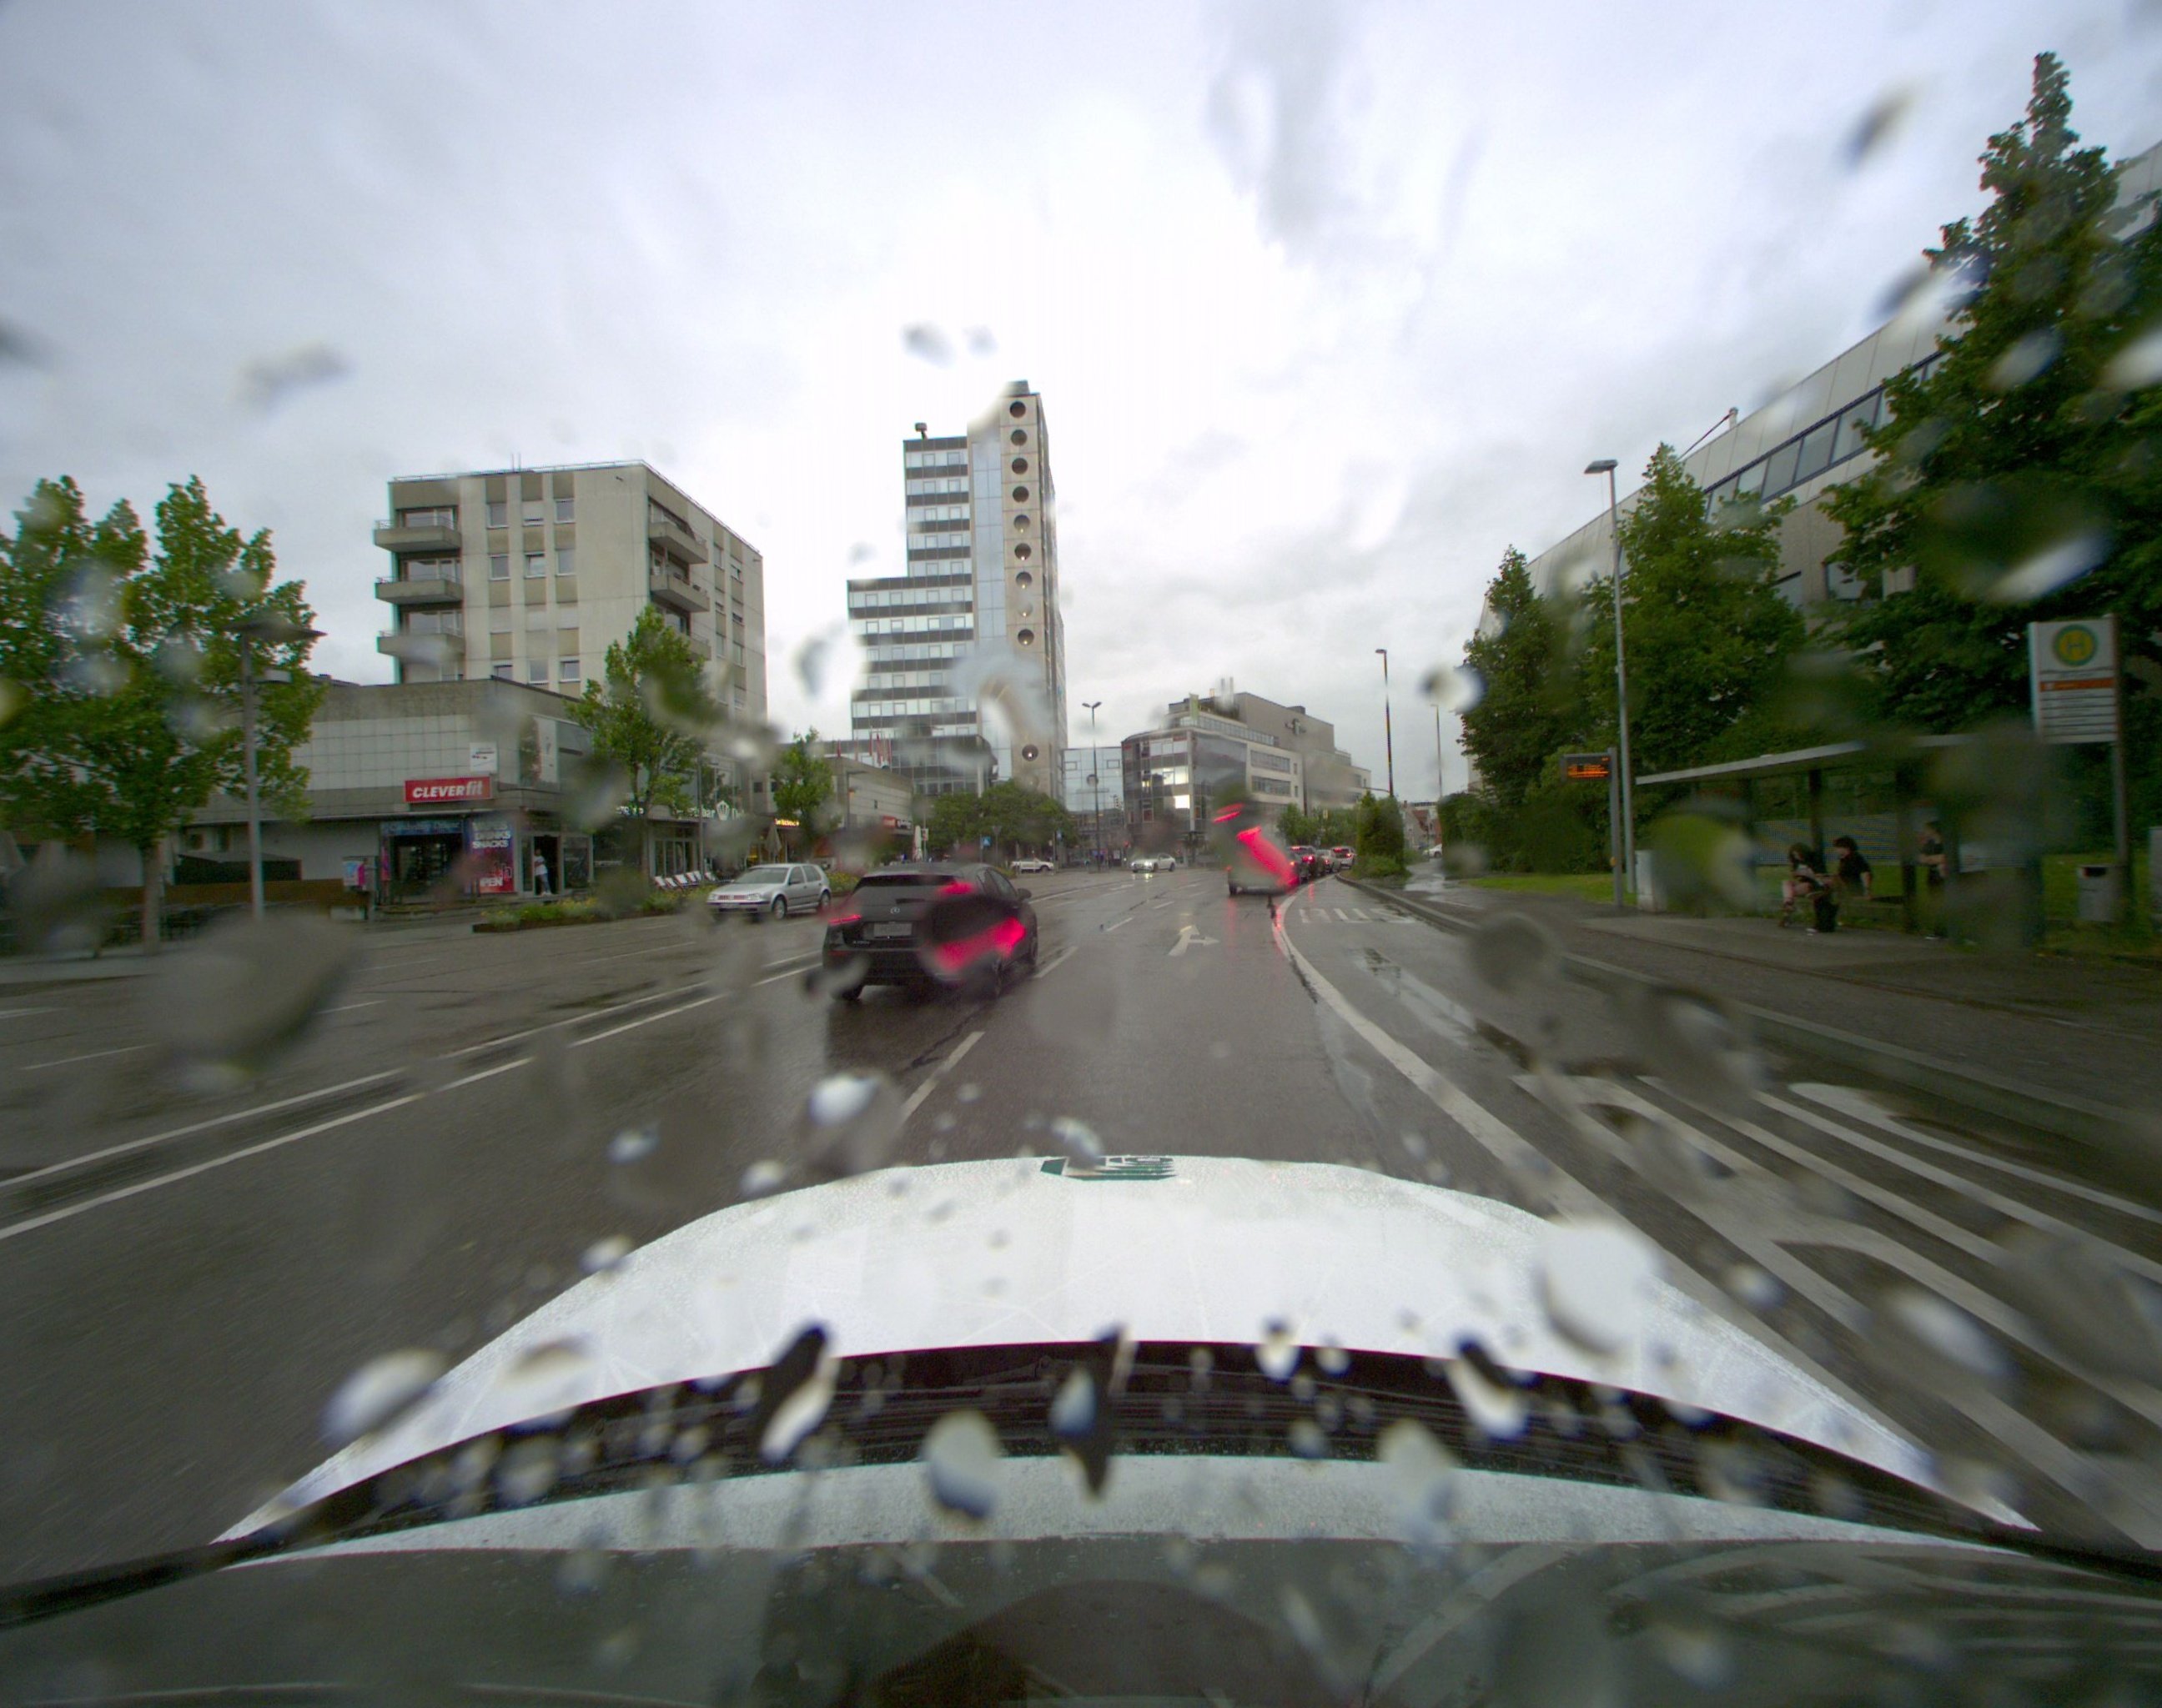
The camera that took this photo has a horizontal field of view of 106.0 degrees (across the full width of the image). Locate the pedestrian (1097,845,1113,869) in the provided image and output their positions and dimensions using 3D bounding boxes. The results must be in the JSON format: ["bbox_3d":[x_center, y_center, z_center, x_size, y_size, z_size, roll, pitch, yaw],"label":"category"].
[{"bbox_3d":[2.002,0.233,68.911,1.159,2.013,1.327,-2,0,-3],"label":"pedestrian"}]

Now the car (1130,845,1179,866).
[{"bbox_3d":[5.622,0.084,61.528,1.824,1.460,4.839,-1,0,30],"label":"car"}]

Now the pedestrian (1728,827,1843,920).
[{"bbox_3d":[10.530,0.289,12.201,1.025,1.281,0.692,-4,0,2],"label":"pedestrian"}]

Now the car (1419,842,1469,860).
[{"bbox_3d":[36.484,-0.345,81.788,4.505,1.682,1.880,-1,0,-19],"label":"car"}]

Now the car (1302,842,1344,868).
[{"bbox_3d":[14.612,0.050,49.017,1.618,1.448,4.294,-1,0,27],"label":"car"}]

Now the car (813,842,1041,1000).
[{"bbox_3d":[-1.603,0.636,9.859,1.808,1.529,3.816,-1,1,3],"label":"car"}]

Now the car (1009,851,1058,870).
[{"bbox_3d":[-4.392,0.621,75.082,4.167,1.595,1.875,-1,0,9],"label":"car"}]

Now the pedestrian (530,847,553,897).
[{"bbox_3d":[-20.177,0.669,30.474,0.422,1.848,0.503,-2,0,15],"label":"pedestrian"}]

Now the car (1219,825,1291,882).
[{"bbox_3d":[6.445,-0.006,29.766,1.979,1.894,4.609,-1,0,19],"label":"car"}]

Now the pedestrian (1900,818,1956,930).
[{"bbox_3d":[10.759,0.248,10.353,0.546,1.365,0.406,-4,0,-44],"label":"pedestrian"}]

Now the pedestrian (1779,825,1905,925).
[{"bbox_3d":[10.670,0.286,11.450,1.025,1.281,0.692,-4,0,2],"label":"pedestrian"}]

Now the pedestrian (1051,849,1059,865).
[{"bbox_3d":[-3.169,0.352,100.052,0.757,2.013,0.717,-2,0,12],"label":"pedestrian"}]

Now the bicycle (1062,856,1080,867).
[{"bbox_3d":[-1.274,0.996,106.177,2.264,1.247,0.677,-2,-1,2],"label":"bicycle"}]

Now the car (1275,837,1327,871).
[{"bbox_3d":[11.614,-0.020,42.773,1.884,1.621,4.360,-1,0,25],"label":"car"}]

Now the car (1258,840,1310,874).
[{"bbox_3d":[9.127,0.116,36.420,1.617,1.386,4.539,-1,0,22],"label":"car"}]

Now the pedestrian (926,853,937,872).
[{"bbox_3d":[-10.862,0.614,59.099,0.491,1.347,0.540,-2,0,40],"label":"pedestrian"}]

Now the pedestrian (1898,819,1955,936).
[{"bbox_3d":[10.376,0.281,9.993,0.546,1.365,0.406,-4,0,-43],"label":"pedestrian"}]

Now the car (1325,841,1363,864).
[{"bbox_3d":[17.760,-0.095,54.859,1.894,1.400,3.478,-2,0,26],"label":"car"}]

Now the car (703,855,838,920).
[{"bbox_3d":[-8.053,0.810,21.567,1.692,1.466,4.108,-3,0,4],"label":"car"}]
